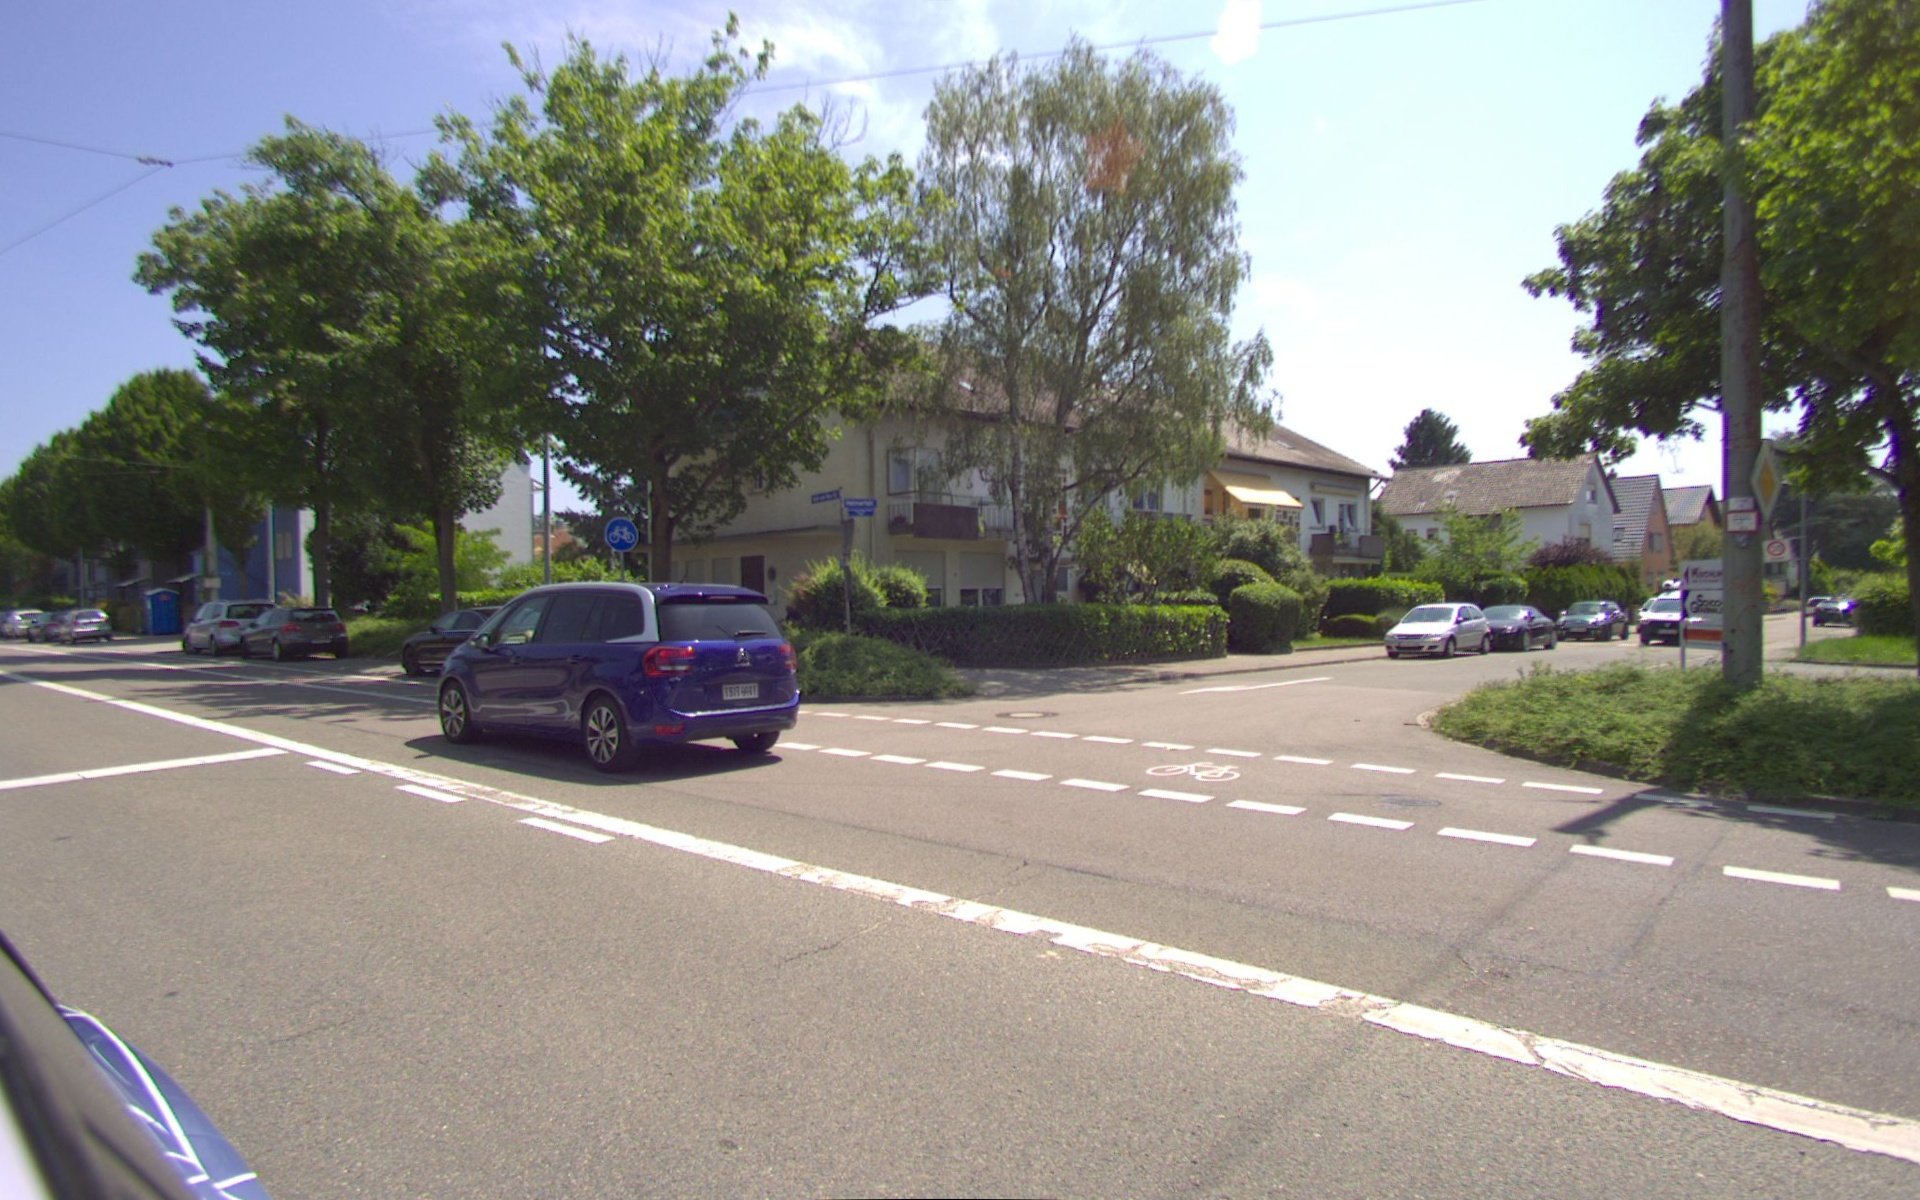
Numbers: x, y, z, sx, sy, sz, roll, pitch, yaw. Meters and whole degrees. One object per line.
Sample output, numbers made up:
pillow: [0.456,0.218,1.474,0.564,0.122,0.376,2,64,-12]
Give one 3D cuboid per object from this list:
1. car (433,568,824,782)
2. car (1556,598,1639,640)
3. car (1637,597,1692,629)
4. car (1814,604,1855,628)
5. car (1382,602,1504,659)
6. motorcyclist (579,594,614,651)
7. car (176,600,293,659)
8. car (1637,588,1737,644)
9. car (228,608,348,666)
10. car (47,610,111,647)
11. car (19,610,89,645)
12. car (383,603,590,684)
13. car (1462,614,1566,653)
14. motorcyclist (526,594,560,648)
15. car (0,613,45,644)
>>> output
car: [-3.351,0.606,9.867,4.062,1.669,1.720,-1,-1,39]
car: [22.930,0.646,36.342,3.848,1.404,1.548,0,0,-42]
car: [30.491,0.535,43.761,1.545,1.339,3.854,-1,0,41]
car: [44.628,0.794,51.647,1.545,1.134,3.854,-1,0,41]
car: [12.993,0.783,27.149,3.847,1.404,1.548,0,0,-41]
motorcyclist: [-9.951,0.602,27.700,0.662,1.514,0.580,-1,2,40]
car: [-23.103,0.886,32.178,4.685,1.701,1.951,-1,1,41]
car: [23.613,0.486,32.816,4.170,1.719,1.743,0,0,-42]
car: [-19.127,1.009,28.754,4.123,1.498,1.660,-1,1,39]
car: [-40.120,1.288,46.072,3.277,1.507,1.488,-1,4,38]
car: [-44.186,1.317,49.326,4.632,1.507,1.661,-1,4,38]
car: [-10.010,0.851,21.244,4.801,1.467,1.877,-1,1,37]
car: [16.575,0.958,30.198,3.691,1.000,1.548,-1,0,-41]
motorcyclist: [-12.129,0.596,29.447,0.725,1.514,0.580,-1,2,40]
car: [-51.668,1.561,55.436,3.644,1.507,1.637,-1,4,38]
